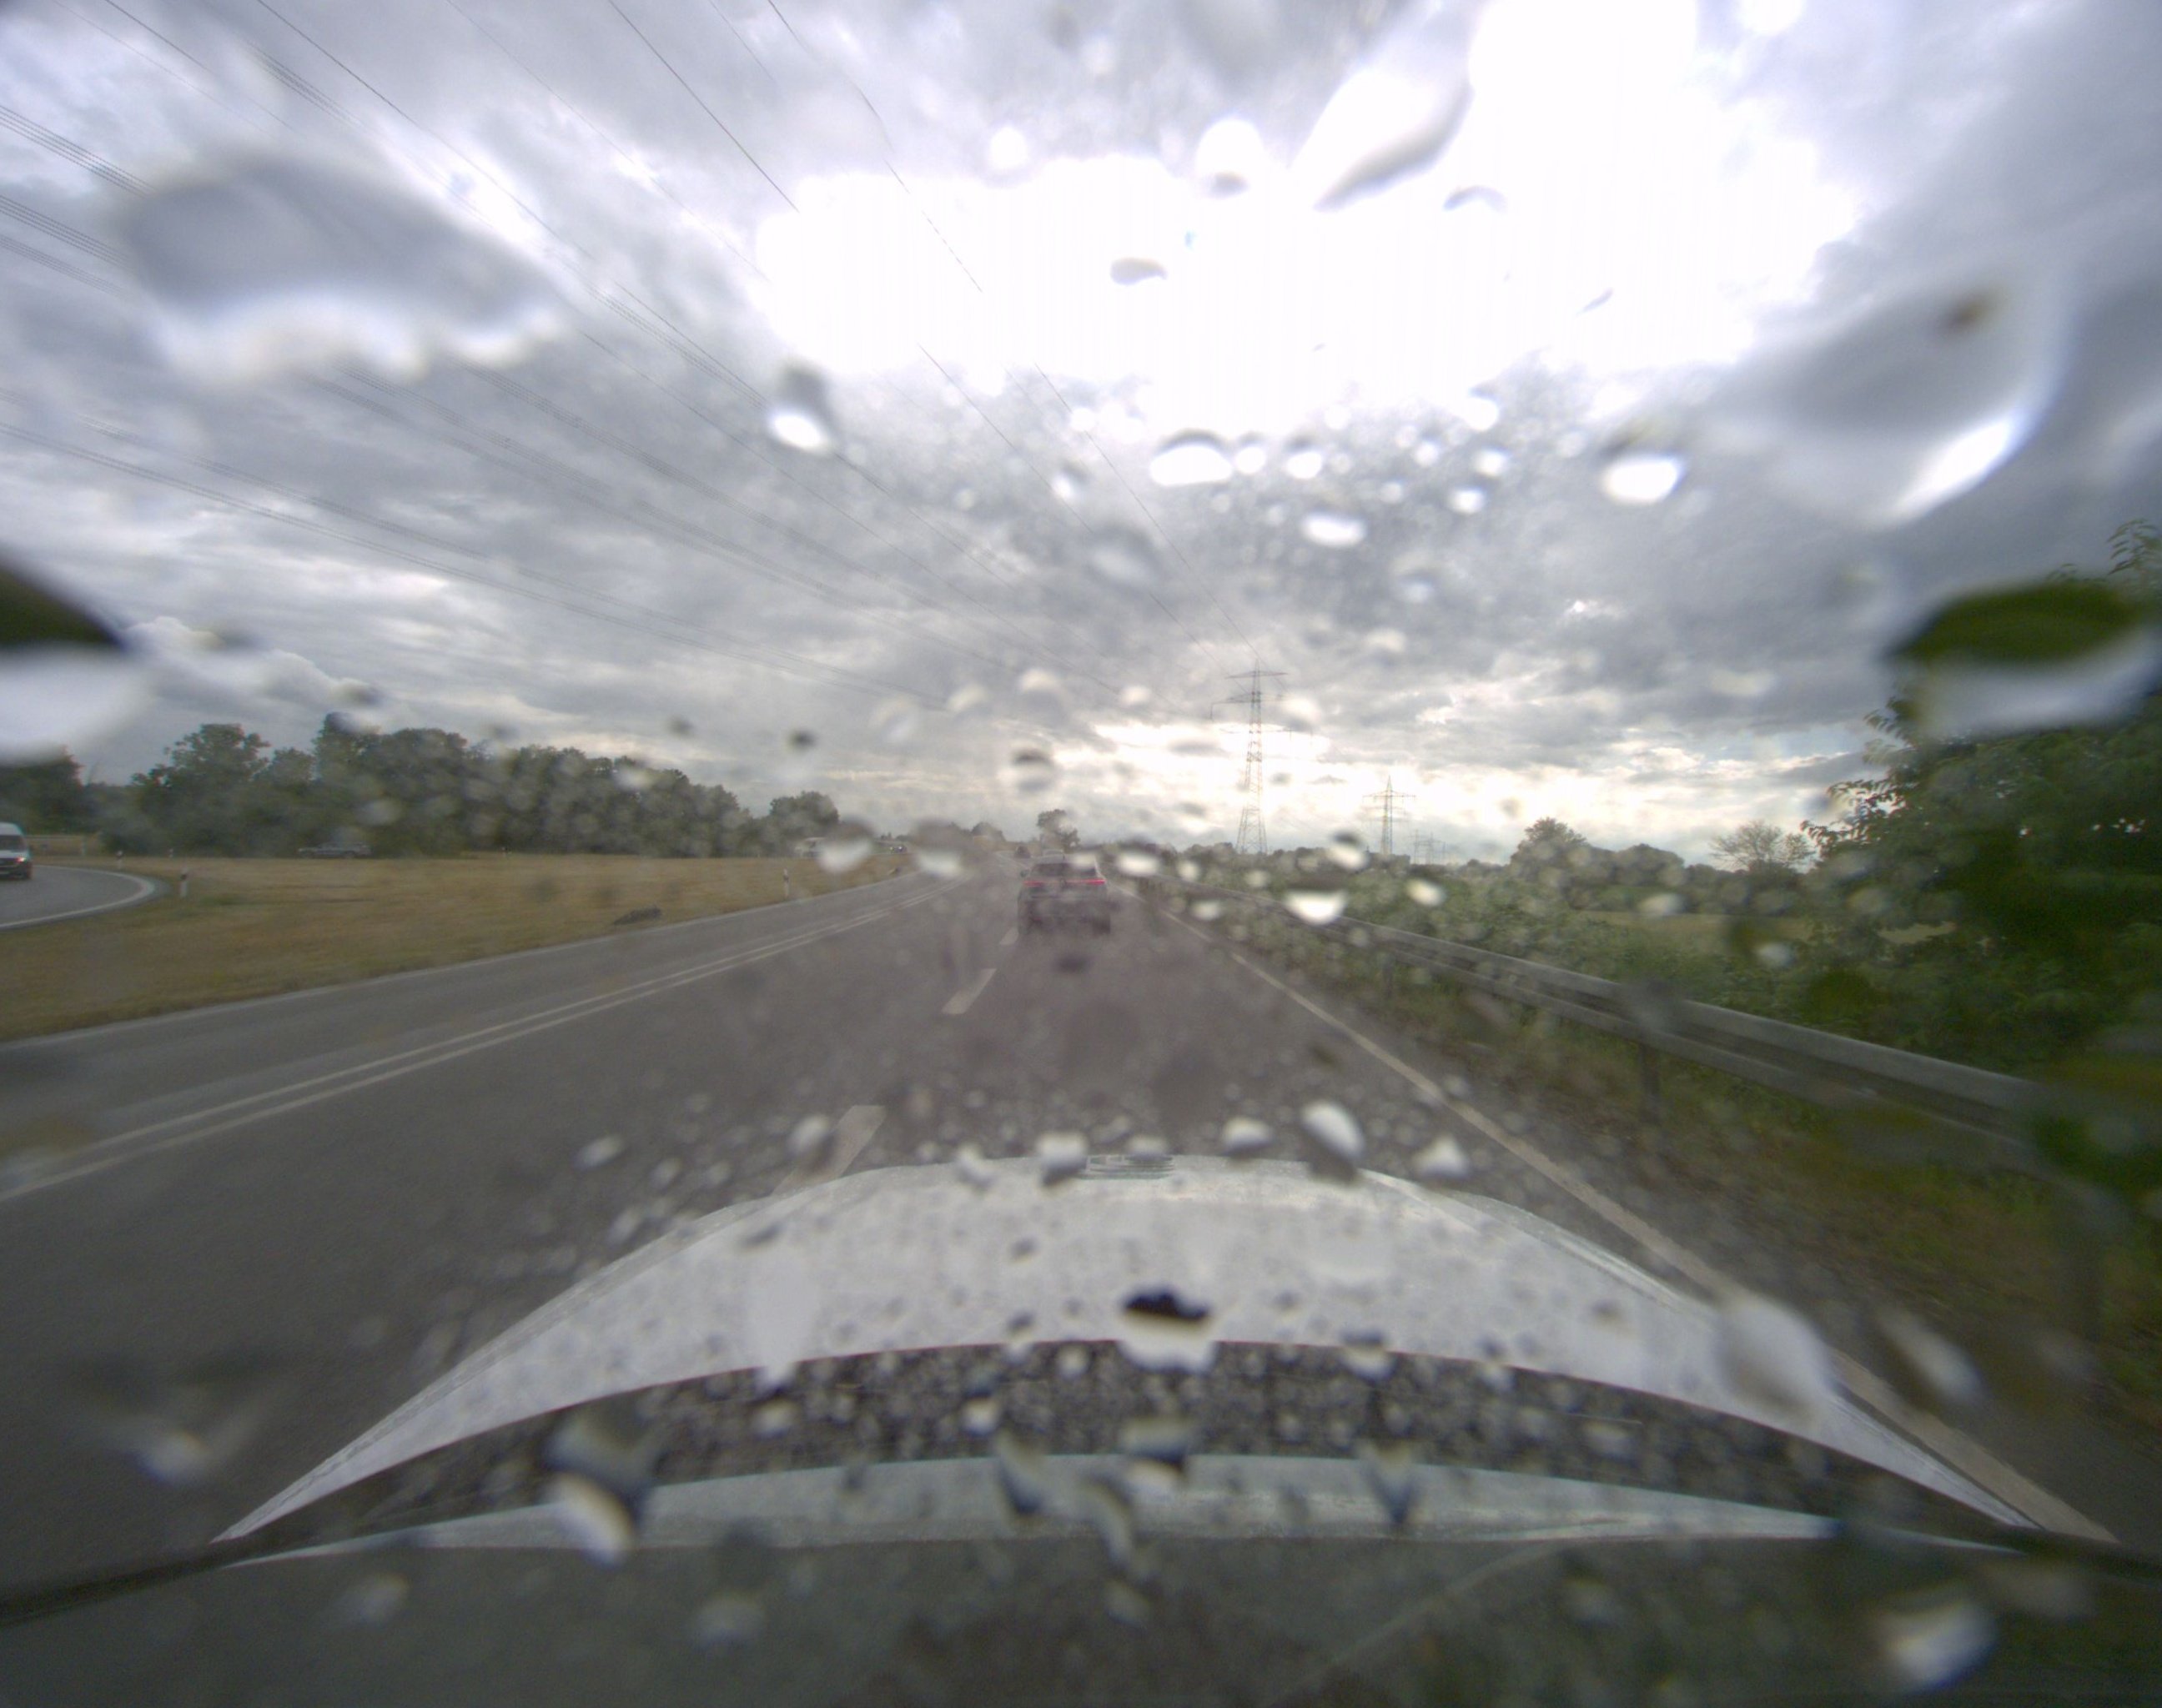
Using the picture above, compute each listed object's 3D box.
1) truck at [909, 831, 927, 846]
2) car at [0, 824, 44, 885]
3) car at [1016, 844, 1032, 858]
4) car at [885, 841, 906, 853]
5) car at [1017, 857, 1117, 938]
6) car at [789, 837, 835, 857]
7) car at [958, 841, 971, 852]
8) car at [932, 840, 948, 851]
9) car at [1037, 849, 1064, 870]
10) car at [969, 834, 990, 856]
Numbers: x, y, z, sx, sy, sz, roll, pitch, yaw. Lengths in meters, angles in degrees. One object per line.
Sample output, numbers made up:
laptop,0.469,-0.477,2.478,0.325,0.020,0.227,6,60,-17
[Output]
truck,-38.944,-3.660,194.506,3.056,3.385,7.592,1,-1,-20
car,-51.573,-0.061,38.697,5.944,2.750,2.228,1,-3,34
car,-6.798,-0.308,97.103,1.788,1.541,3.994,1,-1,-4
car,-28.303,-1.009,124.288,1.971,1.604,3.923,1,-2,6
car,-0.219,0.787,16.607,1.785,1.441,4.000,0,0,1
car,-33.474,-0.857,101.566,2.412,2.390,5.501,0,1,23
car,-18.756,-1.167,131.121,1.794,1.688,3.981,0,-1,-14
car,-29.370,-1.759,169.908,2.608,2.250,5.502,1,-1,-17
car,-2.223,0.427,58.561,1.788,1.441,3.994,-1,-1,-4
car,-13.610,-1.192,109.038,2.571,2.725,7.177,-2,-1,-7
